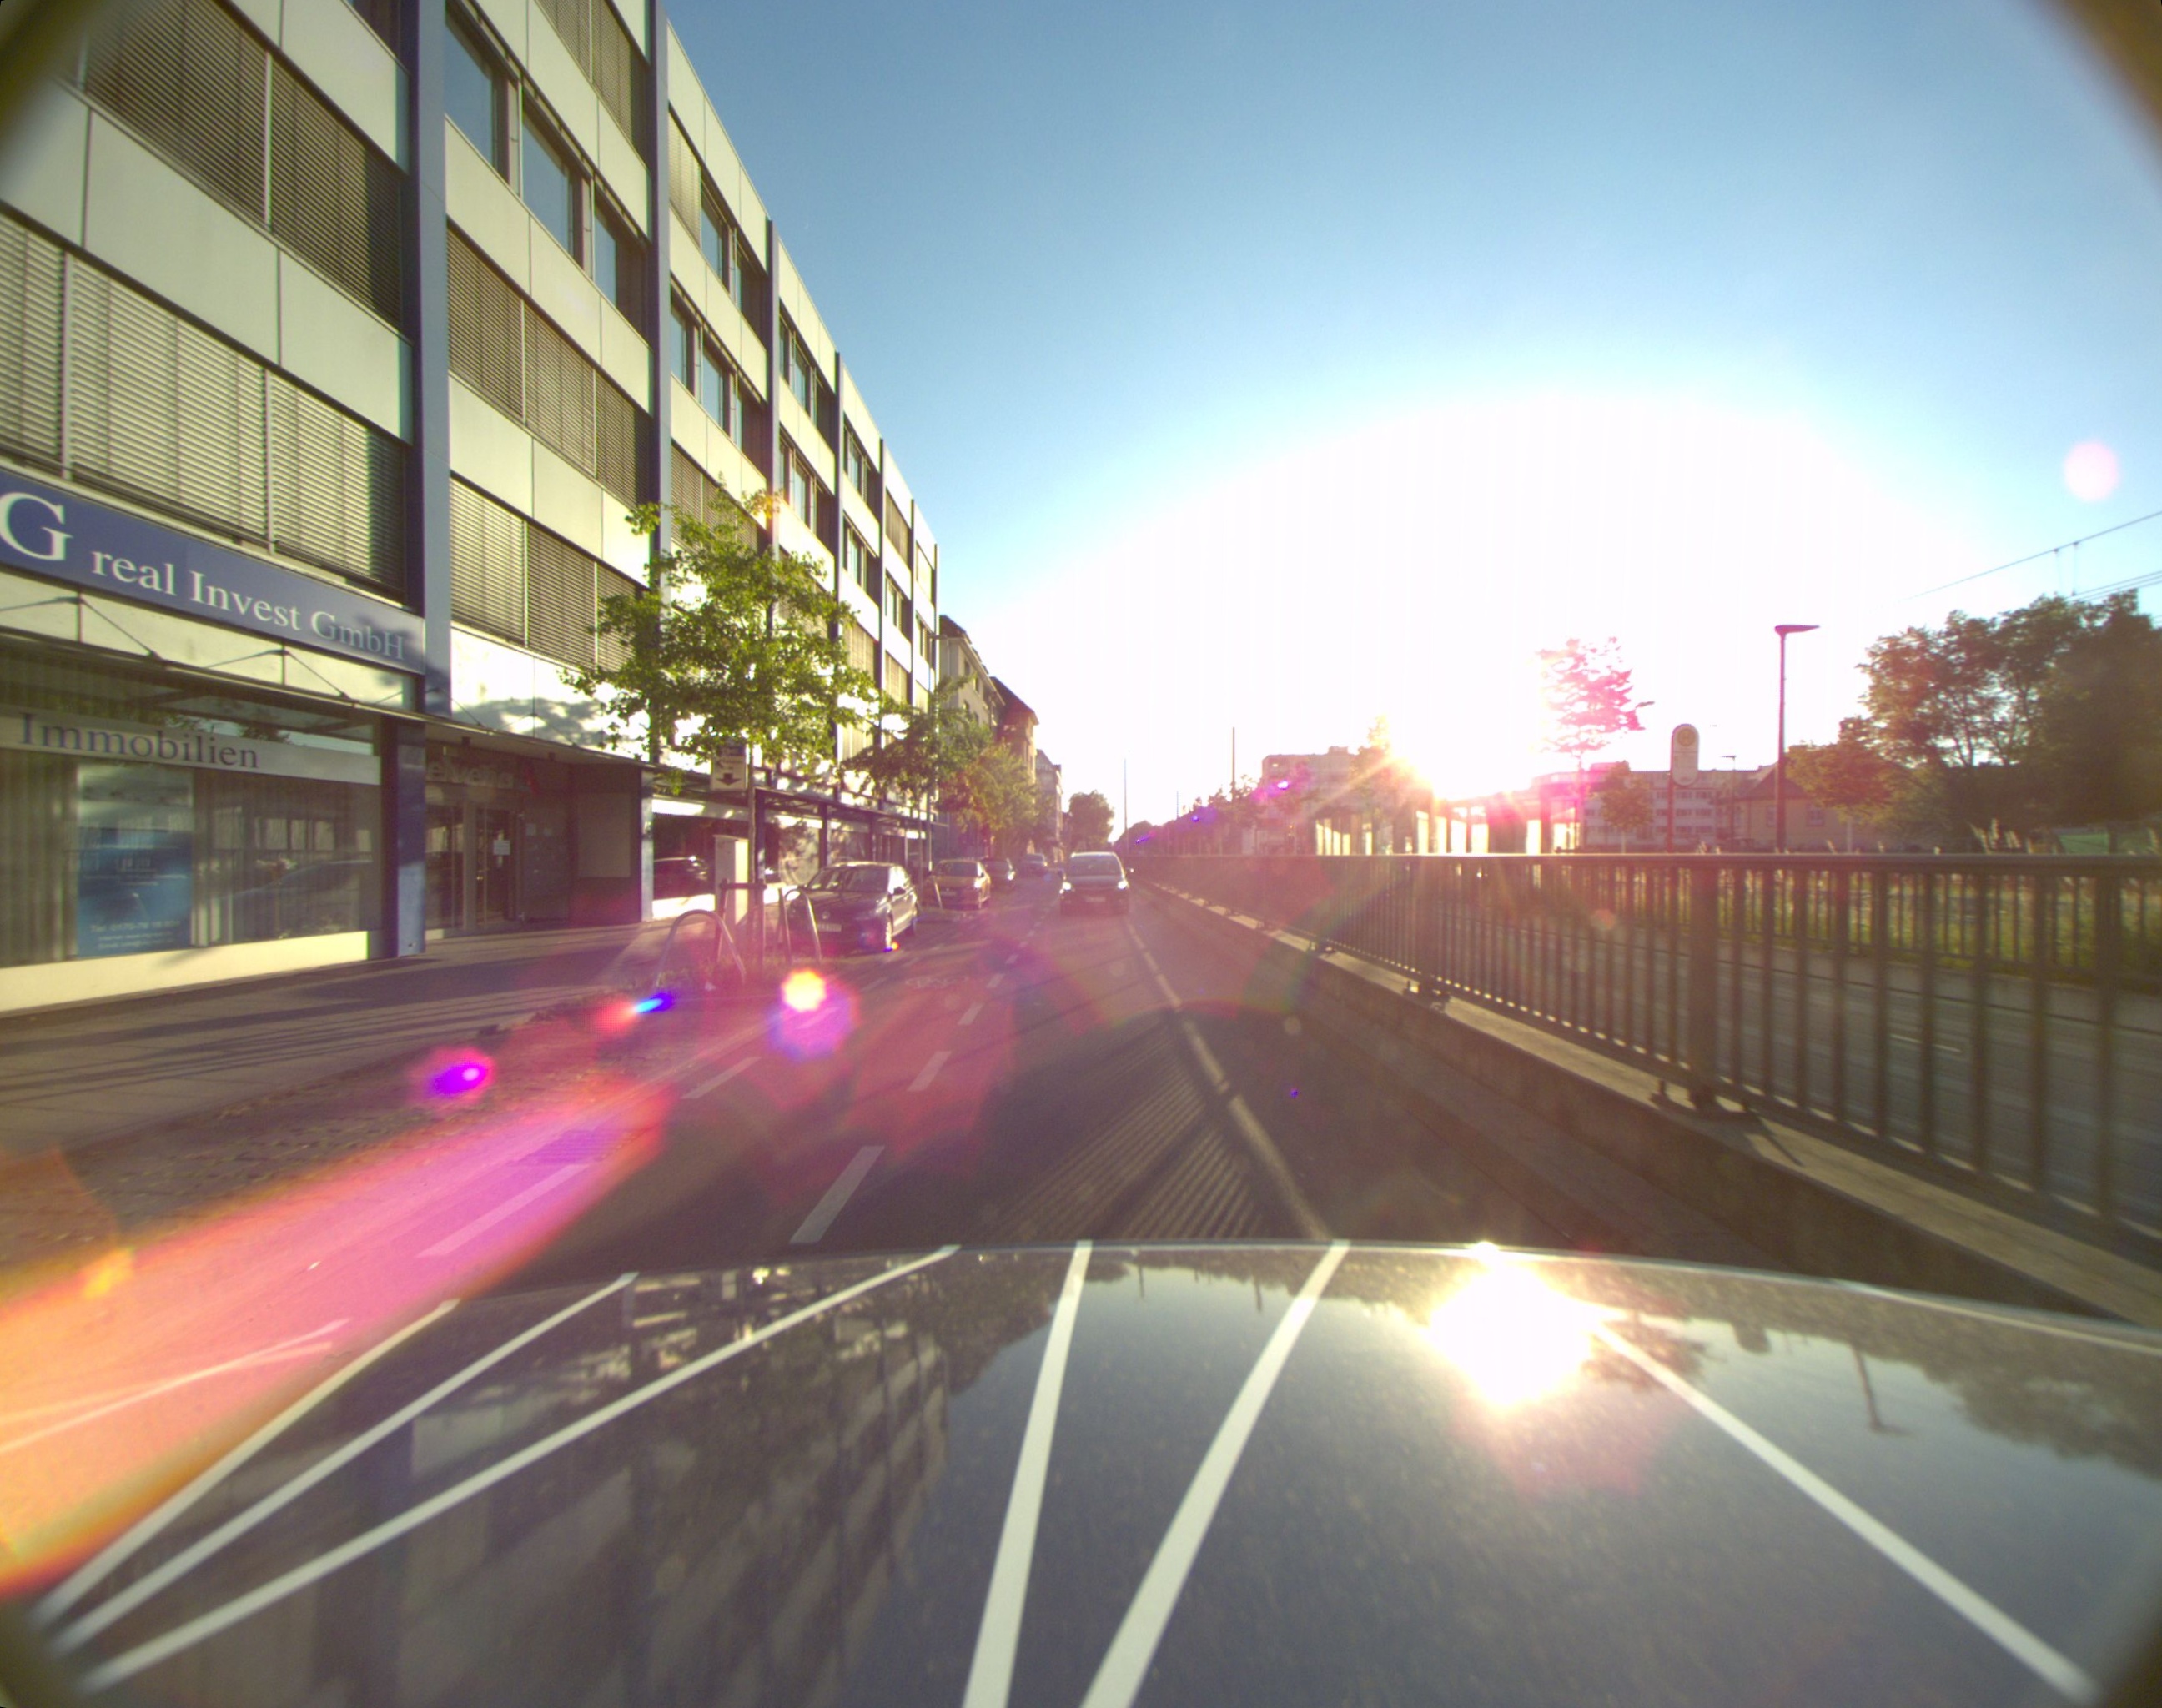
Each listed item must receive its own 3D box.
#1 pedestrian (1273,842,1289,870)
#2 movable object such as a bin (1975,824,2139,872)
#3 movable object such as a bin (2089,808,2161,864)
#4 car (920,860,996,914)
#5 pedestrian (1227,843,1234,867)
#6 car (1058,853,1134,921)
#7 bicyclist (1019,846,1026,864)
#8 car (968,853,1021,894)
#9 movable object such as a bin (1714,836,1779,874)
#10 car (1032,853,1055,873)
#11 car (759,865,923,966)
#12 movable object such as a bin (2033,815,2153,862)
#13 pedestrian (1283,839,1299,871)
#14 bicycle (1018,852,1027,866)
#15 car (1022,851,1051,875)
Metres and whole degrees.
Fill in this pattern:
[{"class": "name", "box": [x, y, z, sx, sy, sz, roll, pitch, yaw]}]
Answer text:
[{"class": "pedestrian", "box": [12.357, 0.129, 46.944, 0.727, 1.734, 0.636, -1, 0, -7]}, {"class": "movable object such as a bin", "box": [48.896, -0.291, 38.278, 1.998, 2.233, 4.940, 0, 0, 3]}, {"class": "movable object such as a bin", "box": [53.195, -0.875, 37.362, 1.998, 2.690, 4.001, 0, 0, 3]}, {"class": "car", "box": [-3.744, 0.954, 23.749, 1.688, 1.446, 4.129, 1, 0, 0]}, {"class": "pedestrian", "box": [11.401, 0.089, 57.947, 0.472, 1.776, 0.626, 0, 1, 8]}, {"class": "car", "box": [0.346, 0.778, 20.209, 1.800, 1.609, 4.386, 0, 0, 0]}, {"class": "bicyclist", "box": [-5.019, 0.071, 65.284, 0.559, 1.467, 0.622, 3, 1, -1]}, {"class": "car", "box": [-3.720, 0.808, 33.436, 1.824, 1.557, 4.809, 3, 0, -1]}, {"class": "movable object such as a bin", "box": [48.897, 0.035, 55.916, 1.996, 2.690, 4.004, 0, 0, 14]}, {"class": "car", "box": [-3.046, 0.704, 62.153, 1.674, 1.509, 3.601, 3, 0, -1]}, {"class": "car", "box": [-4.078, 0.967, 13.646, 1.824, 1.446, 4.127, 1, 0, -3]}, {"class": "movable object such as a bin", "box": [61.230, -0.925, 46.073, 1.998, 2.690, 4.001, 0, 0, 3]}, {"class": "pedestrian", "box": [11.710, 0.056, 42.429, 0.636, 1.719, 0.635, 0, 0, -12]}, {"class": "bicycle", "box": [-5.036, 0.414, 65.341, 0.555, 1.123, 1.973, 3, 1, -1]}, {"class": "car", "box": [-3.269, 0.659, 56.323, 1.761, 1.644, 4.528, 2, 0, 1]}]
